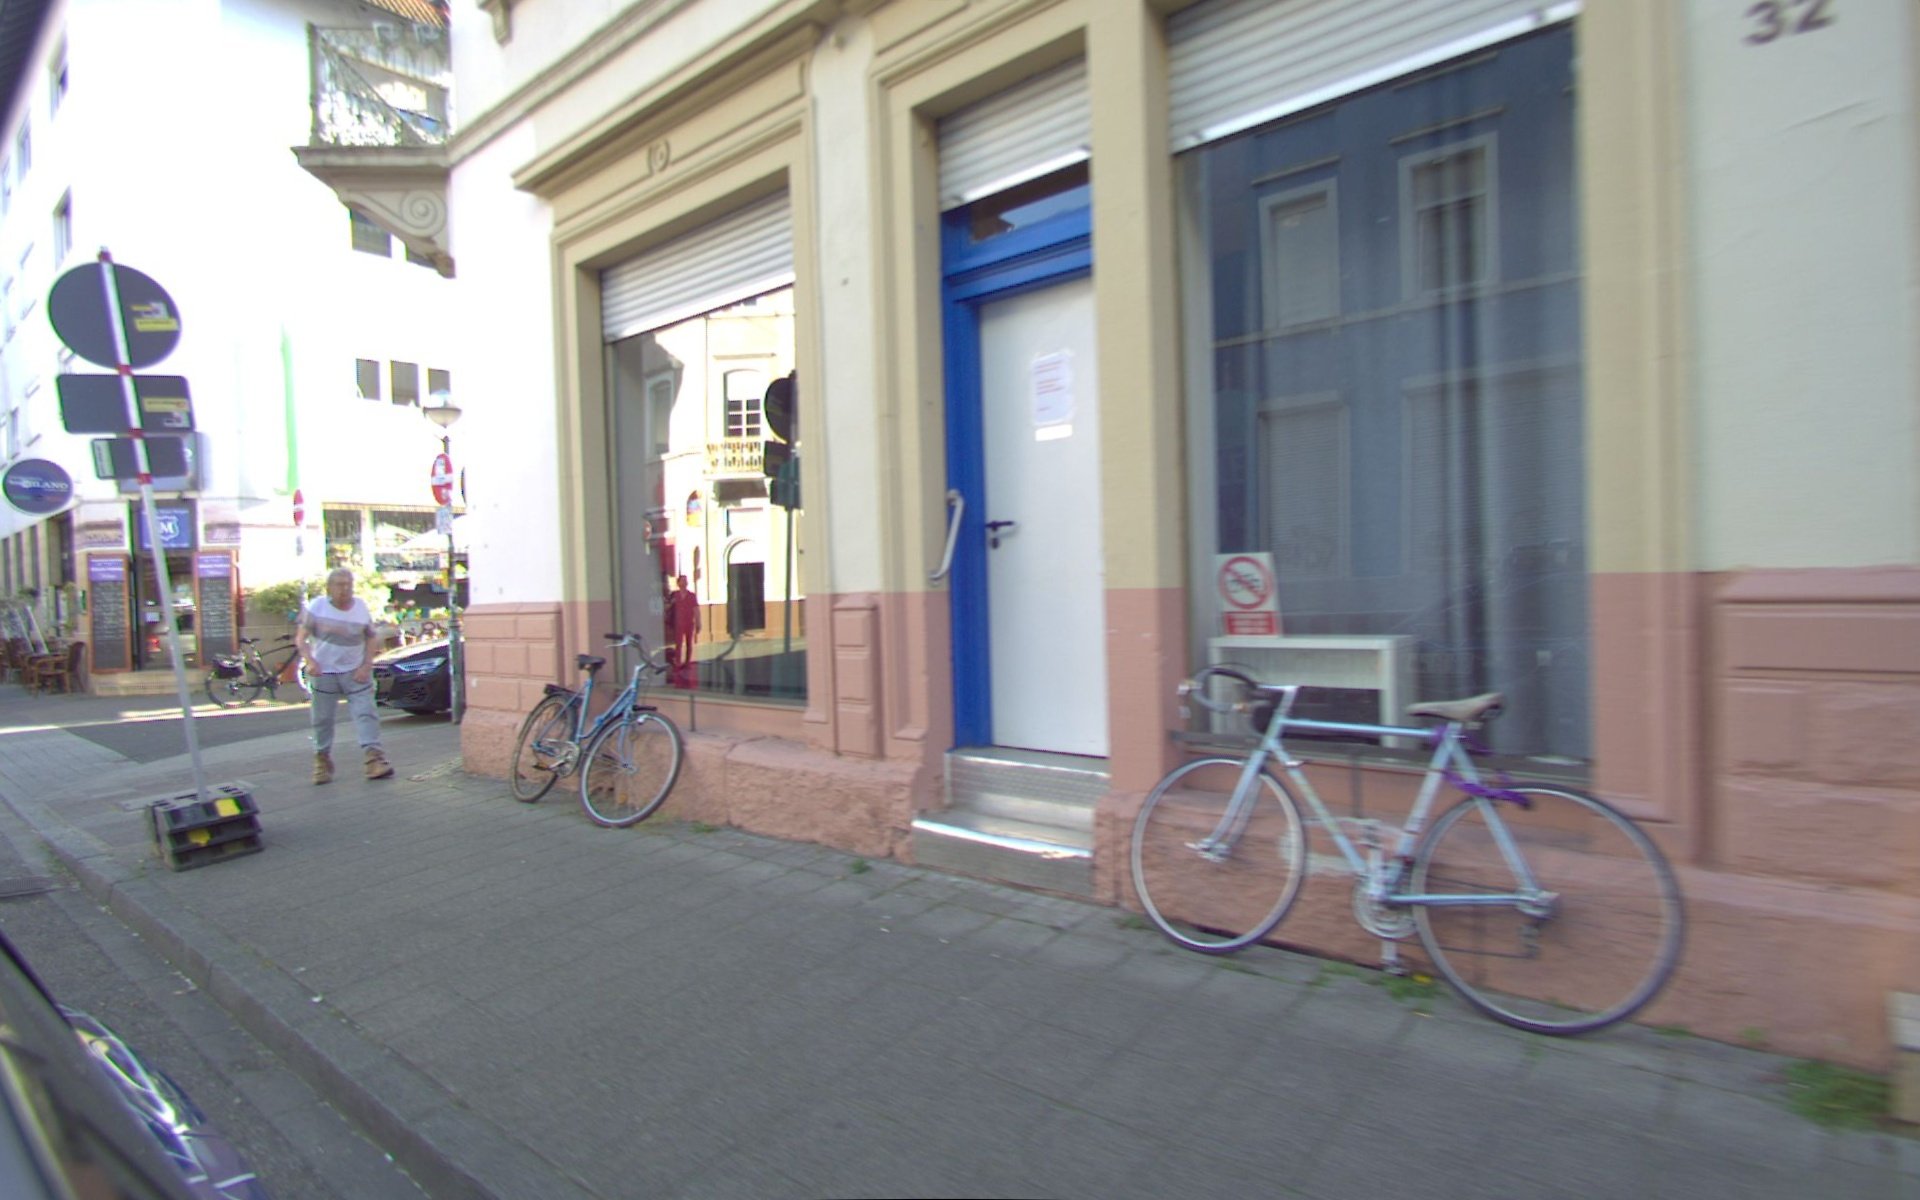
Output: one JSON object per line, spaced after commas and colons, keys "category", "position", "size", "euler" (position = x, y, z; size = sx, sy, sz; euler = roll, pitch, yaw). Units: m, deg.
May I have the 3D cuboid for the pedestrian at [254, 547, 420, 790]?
{"category": "pedestrian", "position": [-4.795, 0.504, 7.789], "size": [0.864, 1.713, 0.687], "euler": [-4, 3, 41]}

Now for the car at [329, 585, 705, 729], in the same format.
{"category": "car", "position": [-5.566, 0.615, 13.161], "size": [1.757, 1.466, 4.100], "euler": [-2, 1, 39]}

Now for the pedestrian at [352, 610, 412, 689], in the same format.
{"category": "pedestrian", "position": [-9.802, 0.824, 17.177], "size": [0.660, 1.275, 0.678], "euler": [-1, 2, 44]}

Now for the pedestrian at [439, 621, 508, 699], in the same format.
{"category": "pedestrian", "position": [-8.542, 1.031, 17.772], "size": [0.706, 1.275, 0.838], "euler": [-1, 2, 44]}

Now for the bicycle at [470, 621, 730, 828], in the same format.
{"category": "bicycle", "position": [-2.227, 0.676, 6.131], "size": [1.817, 1.029, 0.597], "euler": [-1, 4, 42]}

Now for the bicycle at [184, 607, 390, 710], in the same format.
{"category": "bicycle", "position": [-10.245, 0.840, 15.492], "size": [0.928, 1.369, 2.450], "euler": [-1, 1, 41]}

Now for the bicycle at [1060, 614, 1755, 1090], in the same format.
{"category": "bicycle", "position": [1.245, 0.587, 3.096], "size": [1.817, 1.030, 0.616], "euler": [-2, 2, 42]}
